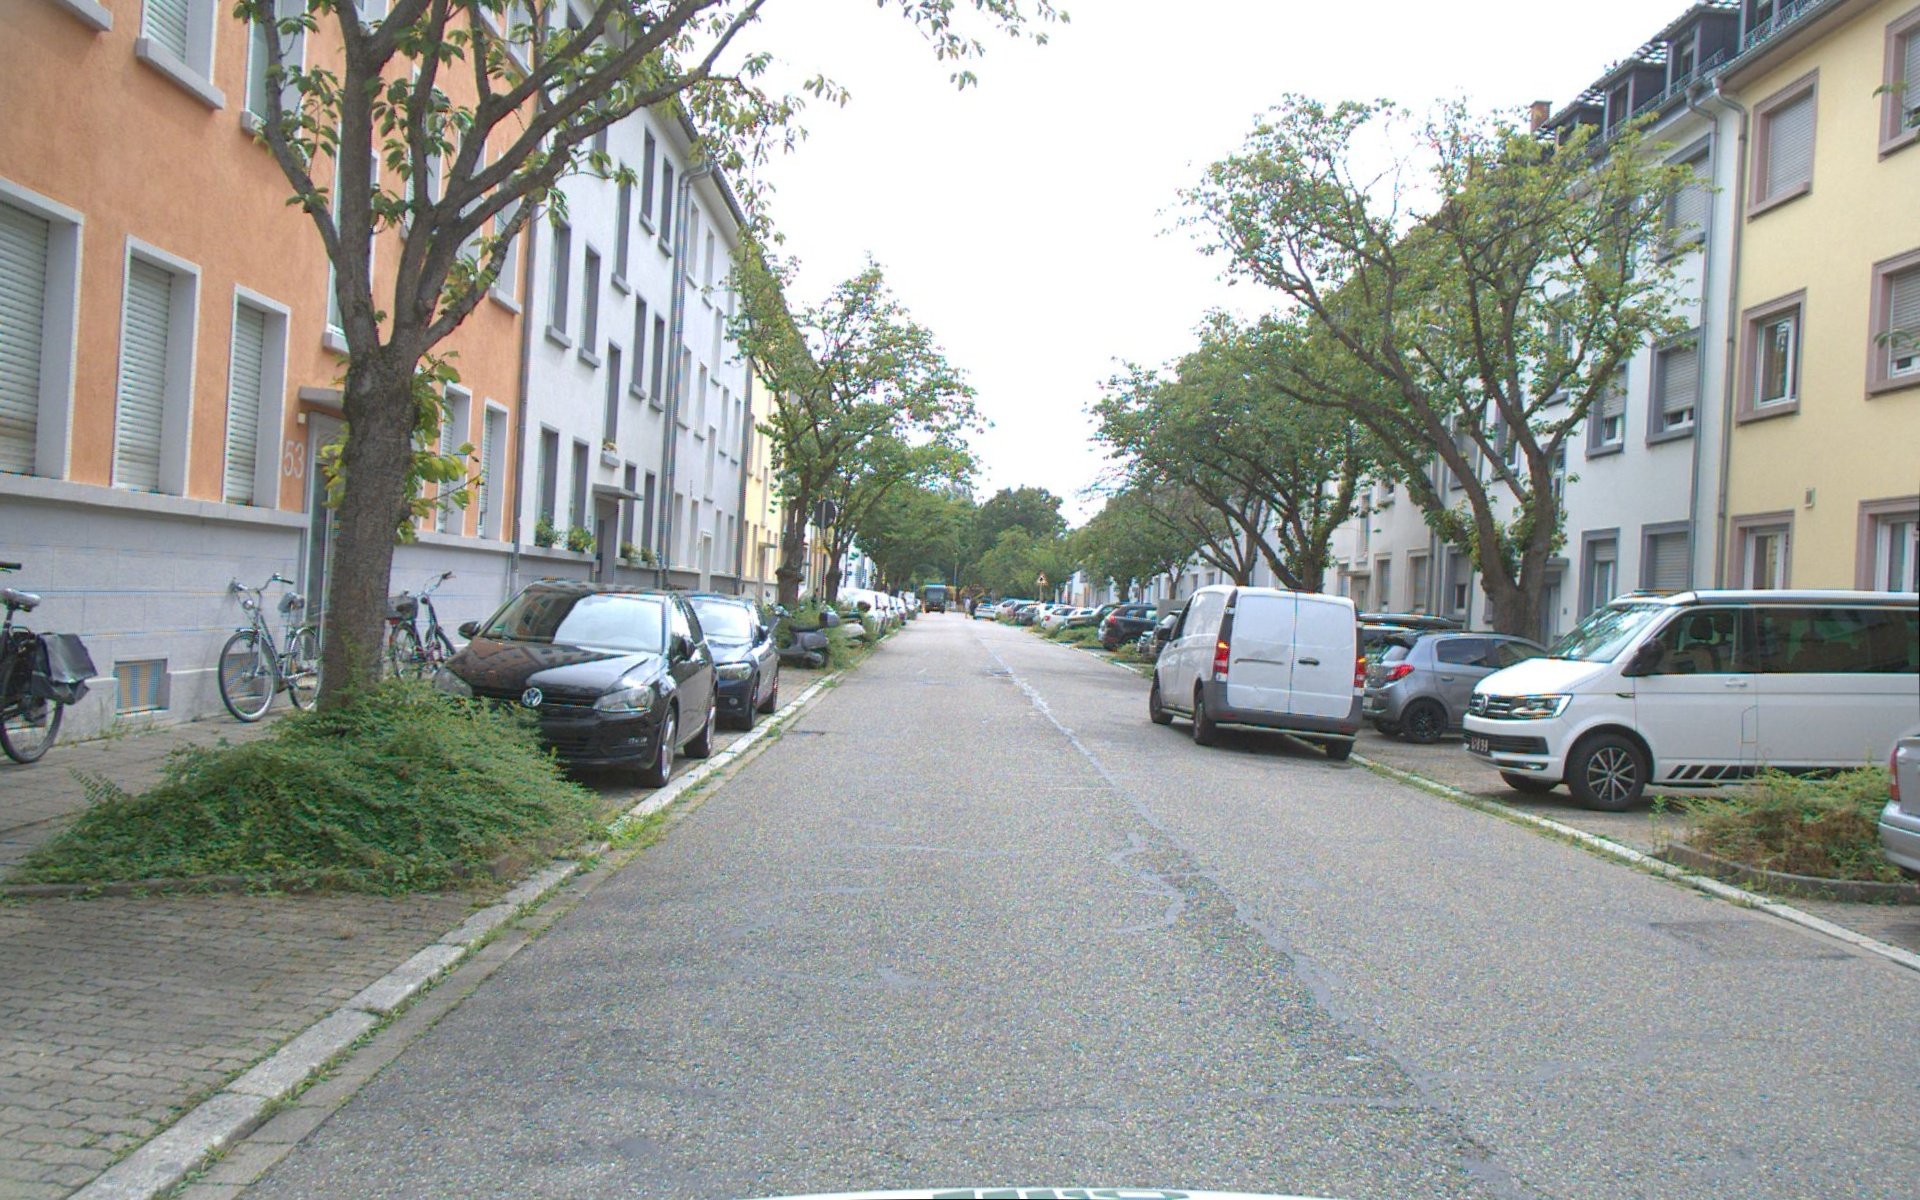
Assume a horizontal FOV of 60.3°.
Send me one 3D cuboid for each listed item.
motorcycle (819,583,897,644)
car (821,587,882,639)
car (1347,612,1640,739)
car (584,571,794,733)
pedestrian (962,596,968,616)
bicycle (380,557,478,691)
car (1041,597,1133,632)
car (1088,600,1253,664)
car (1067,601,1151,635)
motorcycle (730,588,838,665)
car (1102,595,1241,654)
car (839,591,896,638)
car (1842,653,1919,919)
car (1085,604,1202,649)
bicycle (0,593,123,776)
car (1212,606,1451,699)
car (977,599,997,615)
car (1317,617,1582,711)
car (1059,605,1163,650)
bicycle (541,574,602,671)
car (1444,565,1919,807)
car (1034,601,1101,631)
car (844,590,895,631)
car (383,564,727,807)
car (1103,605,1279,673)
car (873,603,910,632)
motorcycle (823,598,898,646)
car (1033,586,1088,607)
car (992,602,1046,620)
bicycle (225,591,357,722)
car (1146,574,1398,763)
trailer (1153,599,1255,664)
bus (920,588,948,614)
[{"bbox_3d":[-3.094,0.390,49.773,0.931,1.705,2.435,3,0,-44],"label":"motorcycle"},{"bbox_3d":[-3.500,0.426,54.148,1.721,1.583,4.255,2,0,-1],"label":"car"},{"bbox_3d":[7.235,1.002,22.649,3.408,1.601,1.814,1,0,-2],"label":"car"},{"bbox_3d":[-3.017,0.552,19.229,1.800,1.509,4.119,6,-1,-3],"label":"car"},{"bbox_3d":[0.463,0.541,144.542,0.511,1.734,0.445,1,-1,3],"label":"pedestrian"},{"bbox_3d":[-5.669,0.249,17.747,0.420,1.357,1.811,1,0,1],"label":"bicycle"},{"bbox_3d":[6.411,0.742,83.673,4.520,1.693,1.892,1,0,0],"label":"car"},{"bbox_3d":[5.650,0.858,44.704,4.131,1.626,1.902,1,0,-3],"label":"car"},{"bbox_3d":[6.770,0.827,75.320,3.554,1.480,1.771,1,0,-5],"label":"car"},{"bbox_3d":[-3.387,0.502,31.836,1.976,1.432,0.790,1,-1,-12],"label":"motorcycle"},{"bbox_3d":[6.586,0.758,51.843,4.127,1.766,1.904,1,0,1],"label":"car"},{"bbox_3d":[-3.324,0.544,60.319,1.754,1.518,4.811,4,-1,0],"label":"car"},{"bbox_3d":[7.291,1.065,9.014,4.011,1.439,1.849,1,0,-3],"label":"car"},{"bbox_3d":[6.589,0.954,59.602,3.908,1.557,1.767,1,0,-4],"label":"car"},{"bbox_3d":[-5.497,0.469,9.707,0.359,1.013,1.569,2,0,-1],"label":"bicycle"},{"bbox_3d":[6.620,0.925,29.714,3.906,1.563,1.638,1,-1,-1],"label":"car"},{"bbox_3d":[2.359,0.601,145.327,1.652,1.378,3.826,1,0,0],"label":"car"},{"bbox_3d":[8.060,1.042,27.436,3.906,1.445,1.638,1,0,-1],"label":"car"},{"bbox_3d":[6.585,1.203,72.501,4.431,1.890,1.793,1,-1,2],"label":"car"},{"bbox_3d":[-5.678,0.321,24.239,0.420,1.357,1.811,1,0,1],"label":"bicycle"},{"bbox_3d":[7.423,0.777,15.516,5.127,2.059,2.071,1,-1,-5],"label":"car"},{"bbox_3d":[6.315,0.945,97.810,3.843,1.661,1.868,1,0,0],"label":"car"},{"bbox_3d":[-3.741,0.426,68.782,1.879,1.609,4.381,1,0,0],"label":"car"},{"bbox_3d":[-3.009,0.589,13.190,1.800,1.509,4.091,4,-1,-3],"label":"car"},{"bbox_3d":[5.824,0.977,41.947,4.130,1.626,1.902,1,0,-3],"label":"car"},{"bbox_3d":[-3.699,0.933,89.663,1.839,1.512,4.511,1,0,-1],"label":"car"},{"bbox_3d":[-2.587,0.570,43.037,1.883,1.212,0.591,1,-1,-28],"label":"motorcycle"},{"bbox_3d":[6.872,-0.225,113.360,3.671,1.389,1.773,1,0,0],"label":"car"},{"bbox_3d":[5.453,1.007,153.567,4.875,1.545,1.768,1,0,-3],"label":"car"},{"bbox_3d":[-5.622,0.450,13.992,0.359,1.023,1.867,1,0,-1],"label":"bicycle"},{"bbox_3d":[3.737,0.775,20.736,1.954,1.948,4.701,5,-1,-3],"label":"car"},{"bbox_3d":[7.297,0.929,49.687,2.899,1.863,1.401,1,-1,3],"label":"trailer"},{"bbox_3d":[-2.894,0.112,182.798,2.943,2.809,8.920,1,0,-2],"label":"bus"}]
